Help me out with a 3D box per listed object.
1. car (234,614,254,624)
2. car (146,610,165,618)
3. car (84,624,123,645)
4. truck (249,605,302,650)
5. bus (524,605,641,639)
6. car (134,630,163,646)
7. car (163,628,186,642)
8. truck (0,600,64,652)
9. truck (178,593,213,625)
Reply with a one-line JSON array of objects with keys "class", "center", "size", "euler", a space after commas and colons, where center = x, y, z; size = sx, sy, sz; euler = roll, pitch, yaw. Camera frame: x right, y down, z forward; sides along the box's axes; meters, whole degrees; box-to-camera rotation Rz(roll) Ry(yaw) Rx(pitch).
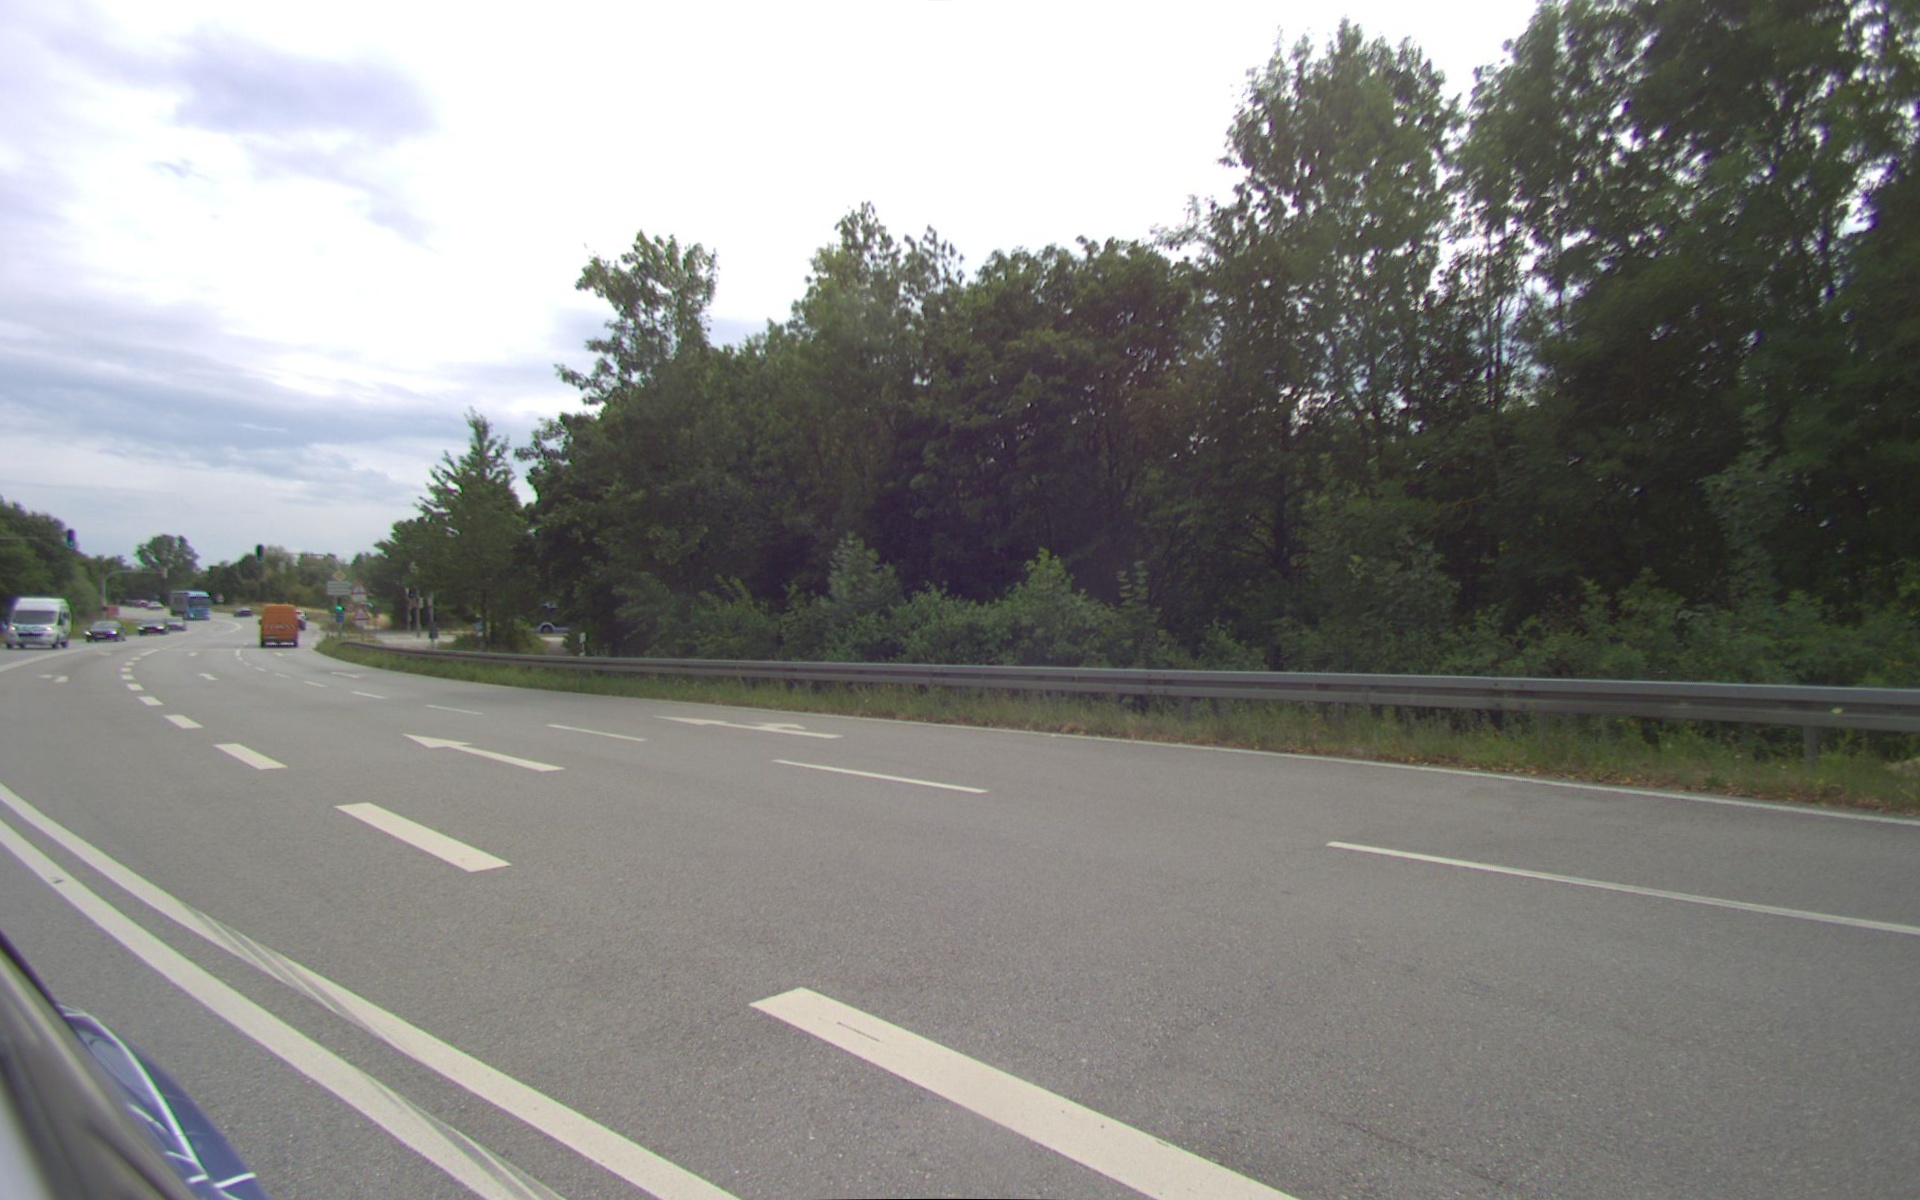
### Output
[{"class": "car", "center": [-110.024, 2.905, 155.508], "size": [4.201, 1.497, 1.720], "euler": [0, -1, 44]}, {"class": "car", "center": [-150.260, 2.583, 188.968], "size": [3.992, 1.497, 1.724], "euler": [-1, 1, 36]}, {"class": "car", "center": [-60.338, 2.436, 71.346], "size": [1.717, 1.335, 4.009], "euler": [4, -4, -35]}, {"class": "truck", "center": [-42.979, 1.723, 63.485], "size": [2.286, 2.621, 6.036], "euler": [3, -3, -37]}, {"class": "bus", "center": [-35.580, 2.085, 95.776], "size": [9.920, 3.070, 3.125], "euler": [1, -2, -43]}, {"class": "car", "center": [-72.746, 3.430, 90.809], "size": [1.716, 1.335, 4.010], "euler": [4, -4, -35]}, {"class": "car", "center": [-79.433, 3.492, 102.328], "size": [1.718, 1.335, 4.007], "euler": [4, -4, -39]}, {"class": "truck", "center": [-49.613, 1.358, 53.996], "size": [2.342, 2.613, 6.010], "euler": [2, -2, -39]}, {"class": "truck", "center": [-110.750, 1.330, 146.572], "size": [2.983, 4.383, 9.580], "euler": [2, -2, -43]}]
